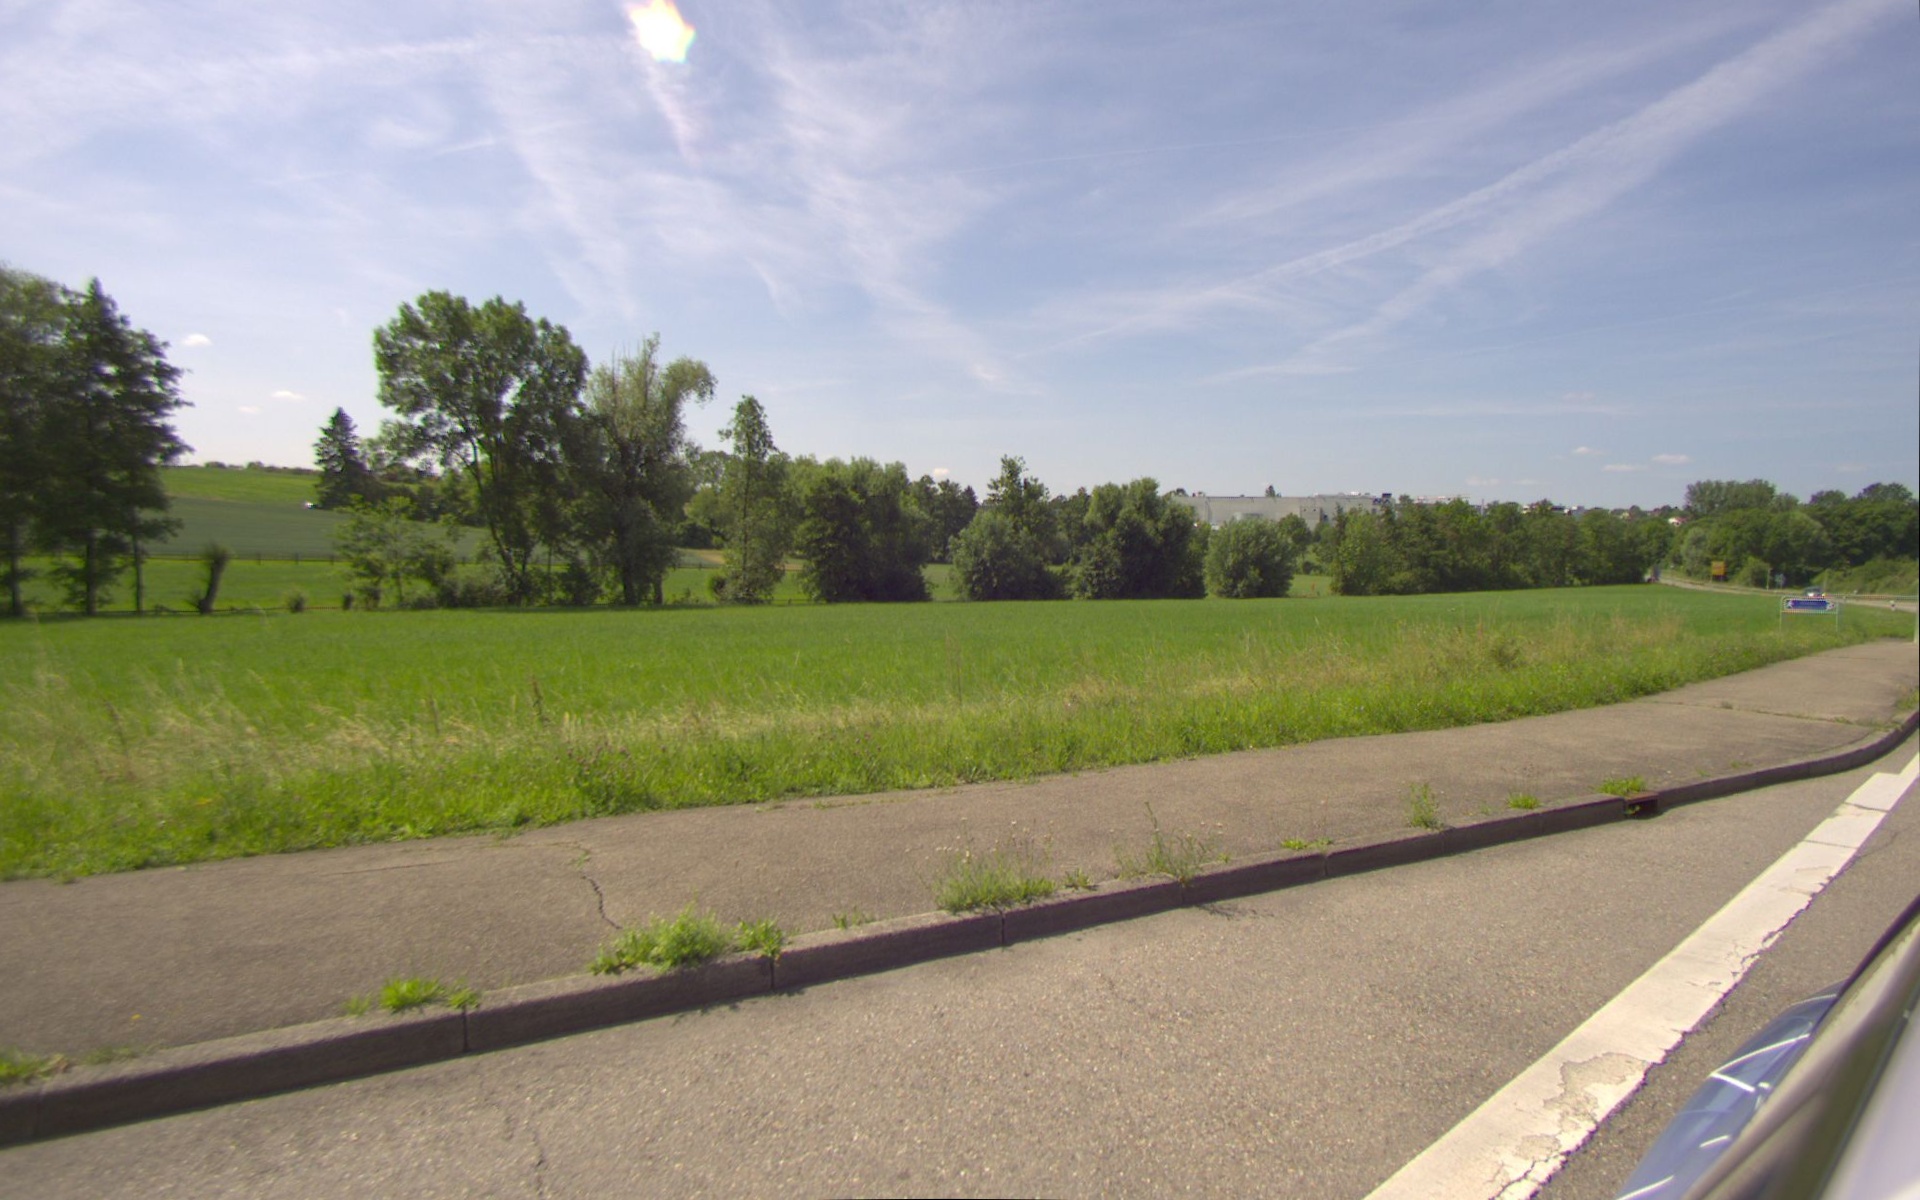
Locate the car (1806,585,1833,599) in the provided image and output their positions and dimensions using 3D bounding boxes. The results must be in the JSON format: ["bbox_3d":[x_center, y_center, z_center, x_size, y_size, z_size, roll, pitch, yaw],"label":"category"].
[{"bbox_3d":[105.677,-0.992,124.498,1.985,1.605,3.954,0,1,32],"label":"car"}]
